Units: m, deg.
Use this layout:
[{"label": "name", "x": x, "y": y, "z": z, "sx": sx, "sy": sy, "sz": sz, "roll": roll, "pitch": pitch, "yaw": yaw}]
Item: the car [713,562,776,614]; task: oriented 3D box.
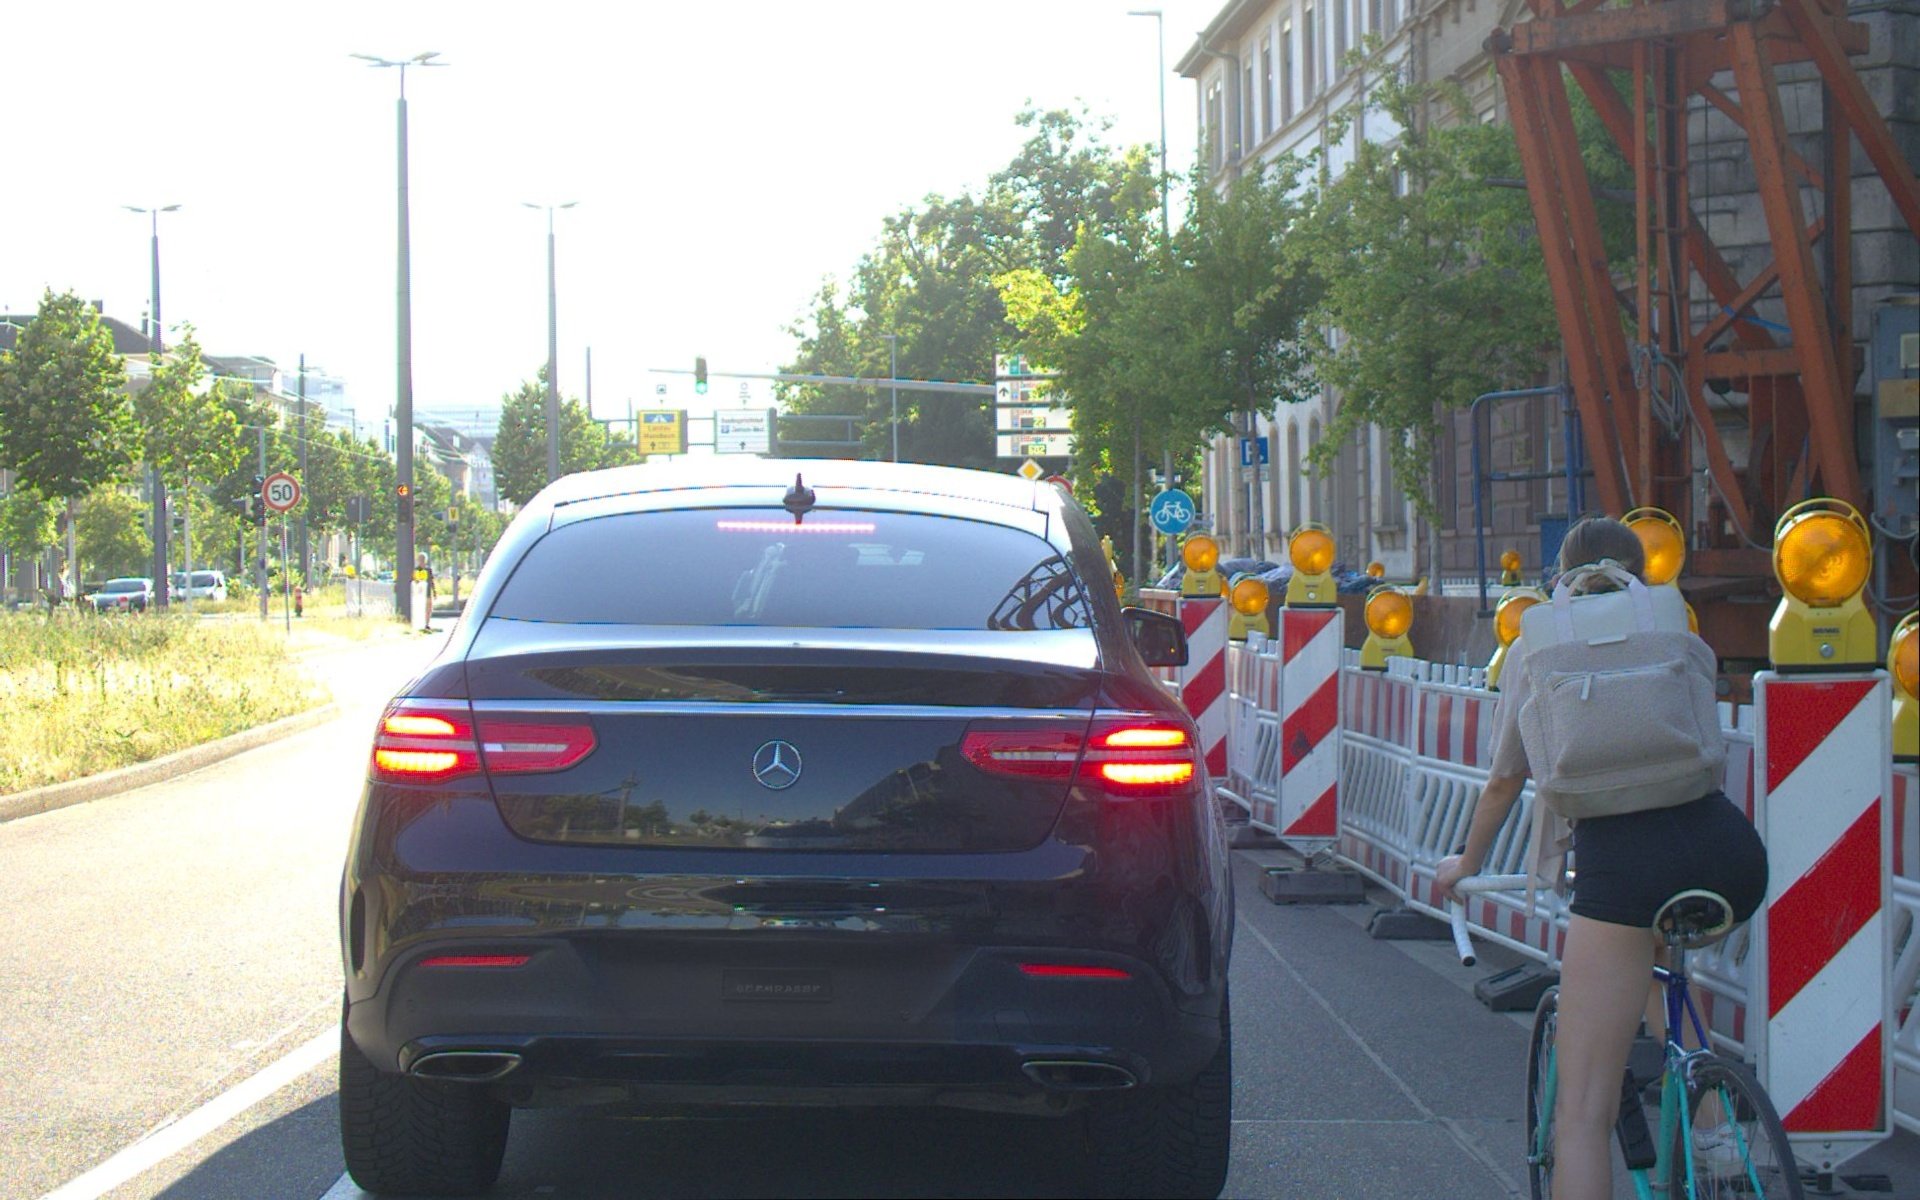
[{"label": "car", "x": -6.119, "y": -0.356, "z": 97.737, "sx": 1.708, "sy": 1.437, "sz": 3.583, "roll": 1, "pitch": 1, "yaw": -3}]

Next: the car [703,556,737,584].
[{"label": "car", "x": -12.839, "y": -1.598, "z": 183.740, "sx": 1.708, "sy": 1.437, "sz": 3.583, "roll": 1, "pitch": 1, "yaw": -3}]

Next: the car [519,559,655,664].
[{"label": "car", "x": -5.341, "y": 0.139, "z": 49.538, "sx": 1.708, "sy": 1.437, "sz": 3.583, "roll": 1, "pitch": 1, "yaw": -3}]

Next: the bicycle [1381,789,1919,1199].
[{"label": "bicycle", "x": 1.166, "y": 0.922, "z": 6.150, "sx": 0.512, "sy": 1.048, "sz": 1.725, "roll": 1, "pitch": 1, "yaw": -3}]

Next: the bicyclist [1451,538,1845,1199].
[{"label": "bicyclist", "x": 1.191, "y": 0.593, "z": 6.044, "sx": 0.522, "sy": 1.391, "sz": 0.615, "roll": 1, "pitch": 0, "yaw": -3}]

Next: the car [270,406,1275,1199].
[{"label": "car", "x": -0.400, "y": 0.488, "z": 8.897, "sx": 1.993, "sy": 1.766, "sz": 4.000, "roll": 1, "pitch": 1, "yaw": -1}]

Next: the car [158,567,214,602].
[{"label": "car", "x": -32.758, "y": -0.655, "z": 145.583, "sx": 1.708, "sy": 1.437, "sz": 3.583, "roll": 1, "pitch": 1, "yaw": -3}]

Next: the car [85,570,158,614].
[{"label": "car", "x": -28.002, "y": -0.280, "z": 114.881, "sx": 1.708, "sy": 1.437, "sz": 3.583, "roll": 1, "pitch": 1, "yaw": -3}]

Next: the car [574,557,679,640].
[{"label": "car", "x": -6.065, "y": -0.048, "z": 62.752, "sx": 1.708, "sy": 1.437, "sz": 3.583, "roll": 1, "pitch": 1, "yaw": -3}]
